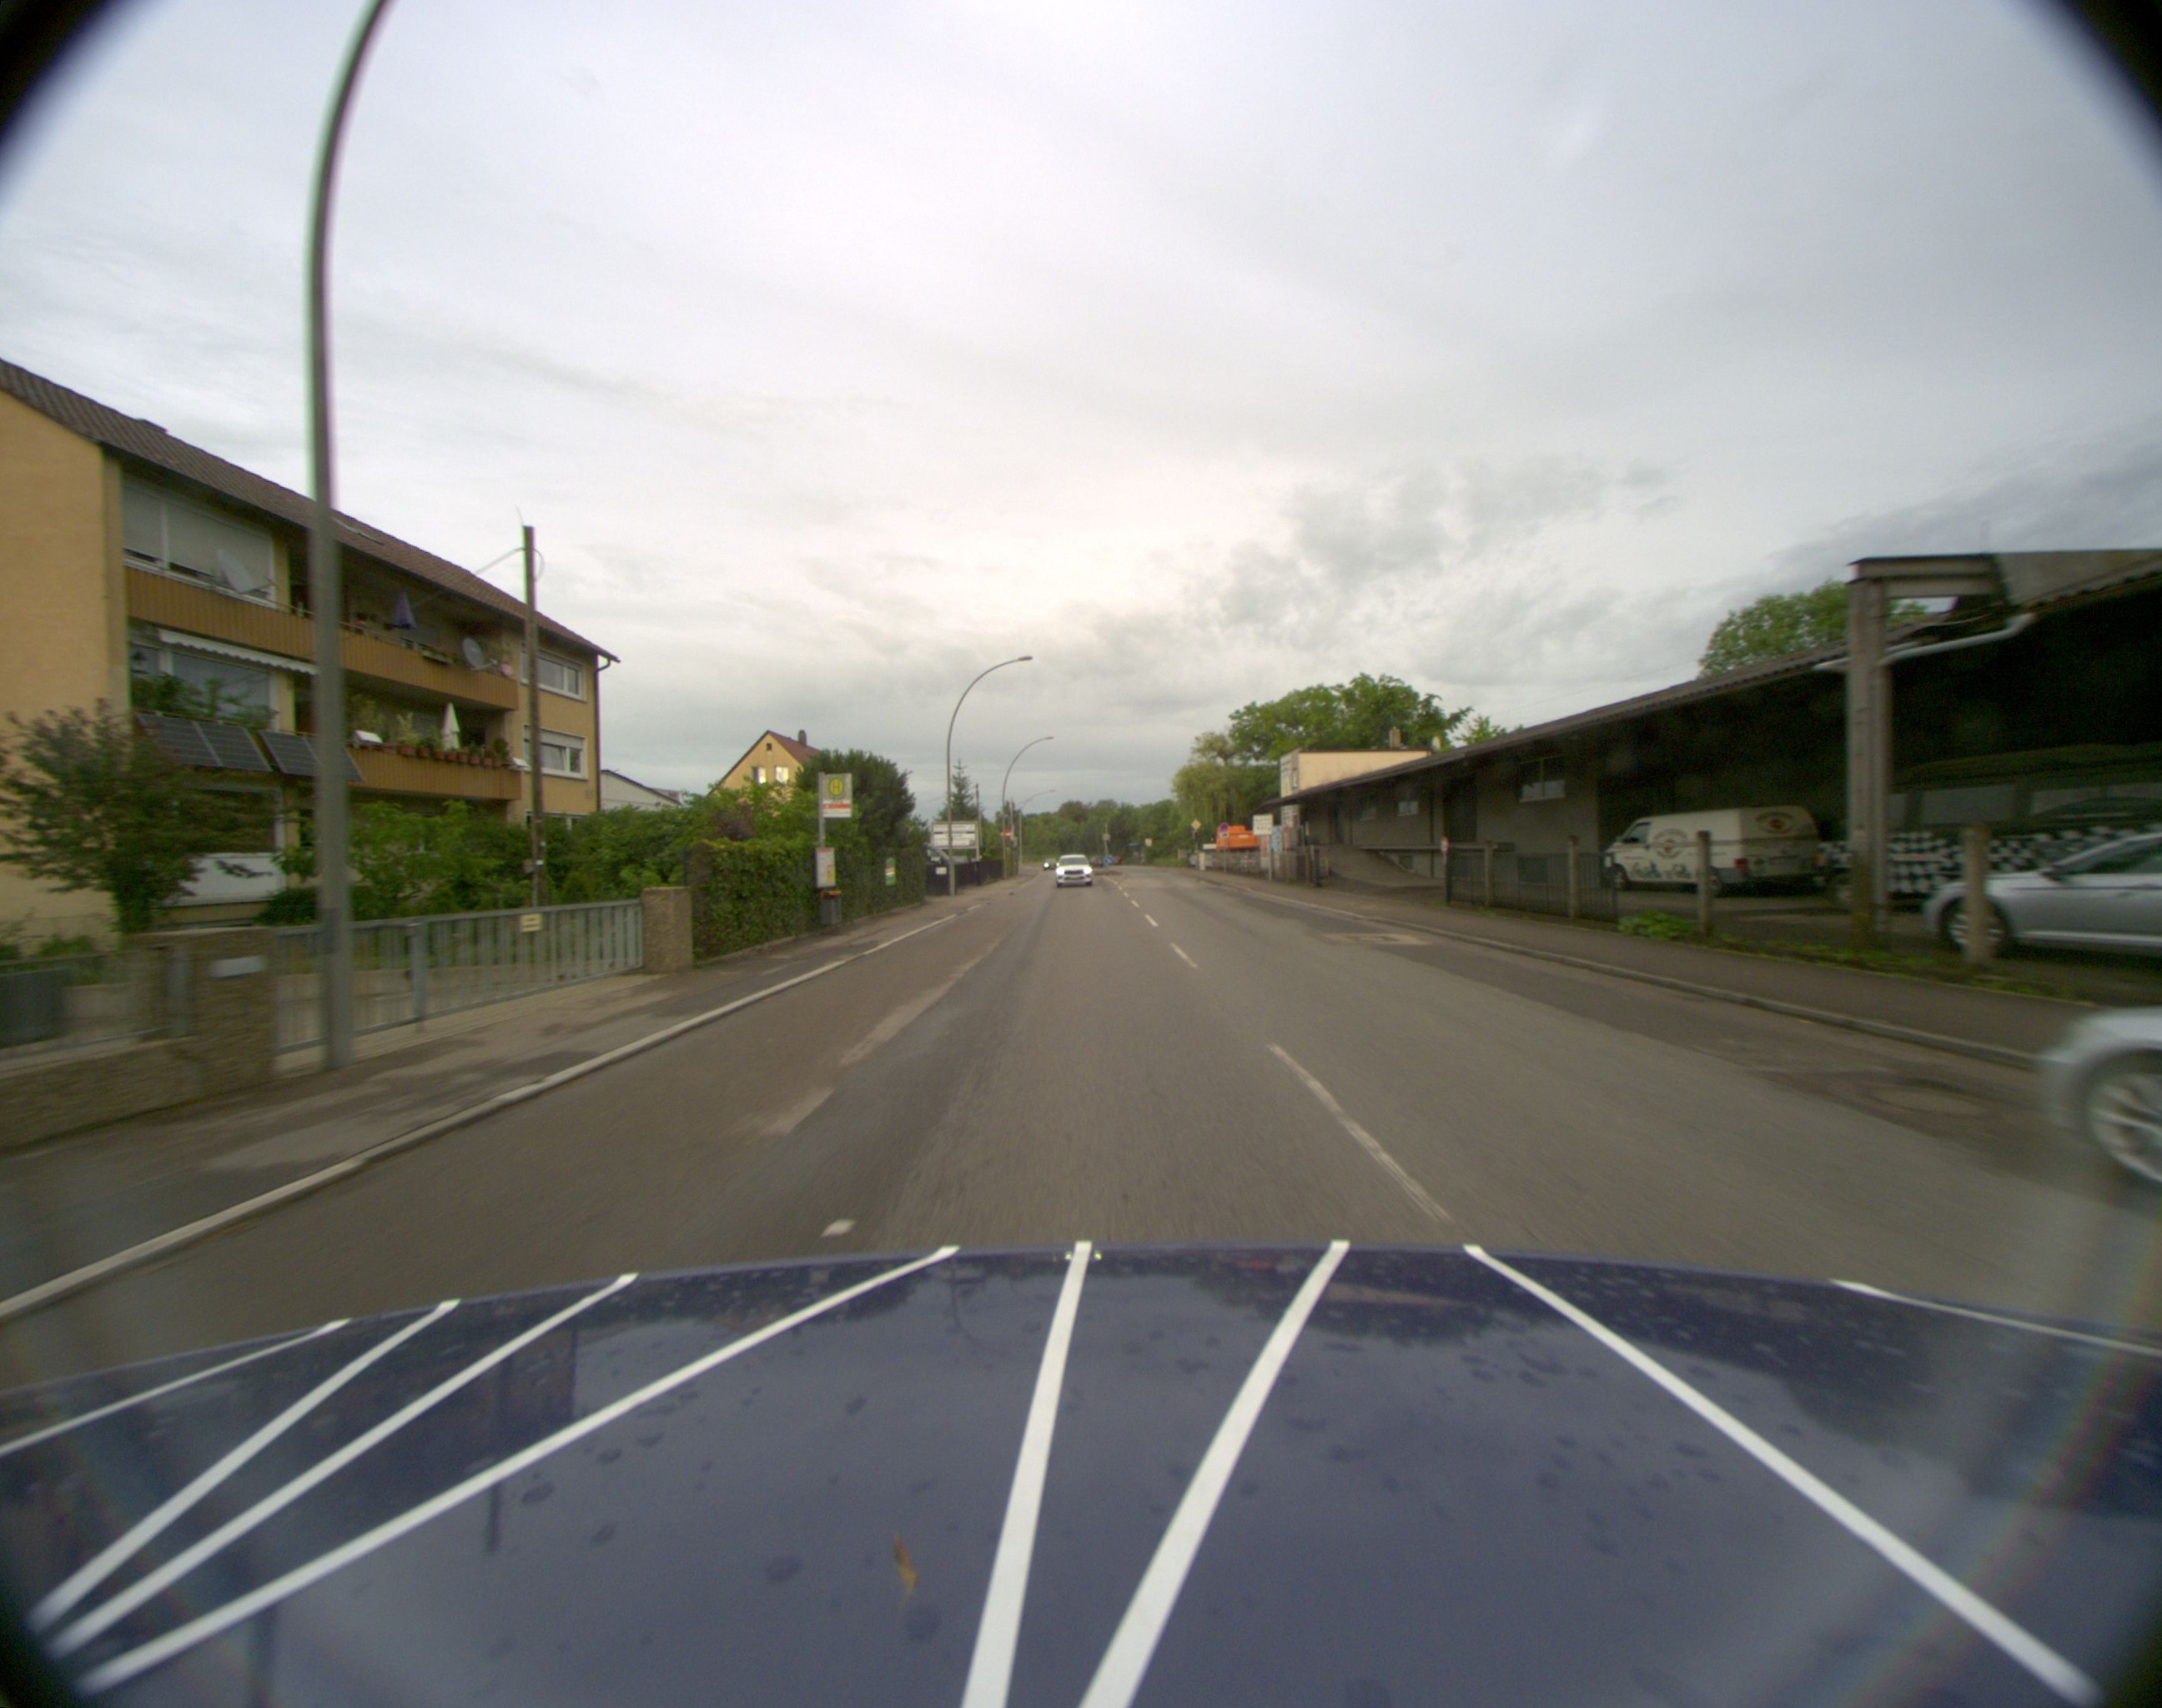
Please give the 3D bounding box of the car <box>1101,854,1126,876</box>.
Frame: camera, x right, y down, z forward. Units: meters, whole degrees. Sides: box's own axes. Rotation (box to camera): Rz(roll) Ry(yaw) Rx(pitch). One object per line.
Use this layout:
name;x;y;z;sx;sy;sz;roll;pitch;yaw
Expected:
car;2.550;0.828;59.768;1.898;1.678;4.231;0;0;2

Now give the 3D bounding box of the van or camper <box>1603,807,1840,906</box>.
van or camper;14.528;0.045;17.651;1.926;1.924;4.374;-3;0;3

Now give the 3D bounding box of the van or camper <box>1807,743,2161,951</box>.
van or camper;13.829;-0.134;10.802;1.998;2.476;5.197;-3;0;0

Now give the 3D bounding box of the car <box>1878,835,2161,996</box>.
car;10.909;0.561;7.125;1.833;1.432;4.788;-3;0;0

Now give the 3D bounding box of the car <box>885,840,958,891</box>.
car;-8.695;0.599;41.610;3.456;2.596;1.949;-3;1;-1

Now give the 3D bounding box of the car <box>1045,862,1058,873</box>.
car;-3.671;1.672;94.441;1.564;1.332;3.129;-3;0;-1

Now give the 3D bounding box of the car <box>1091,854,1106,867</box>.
car;2.228;0.779;96.341;1.700;1.547;3.717;-3;0;-1

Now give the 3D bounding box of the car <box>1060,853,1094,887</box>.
car;-0.234;0.810;41.018;1.692;1.651;3.999;-3;0;-1

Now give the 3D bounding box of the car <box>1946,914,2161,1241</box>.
car;5.505;1.019;1.784;1.642;1.357;4.707;0;0;1
